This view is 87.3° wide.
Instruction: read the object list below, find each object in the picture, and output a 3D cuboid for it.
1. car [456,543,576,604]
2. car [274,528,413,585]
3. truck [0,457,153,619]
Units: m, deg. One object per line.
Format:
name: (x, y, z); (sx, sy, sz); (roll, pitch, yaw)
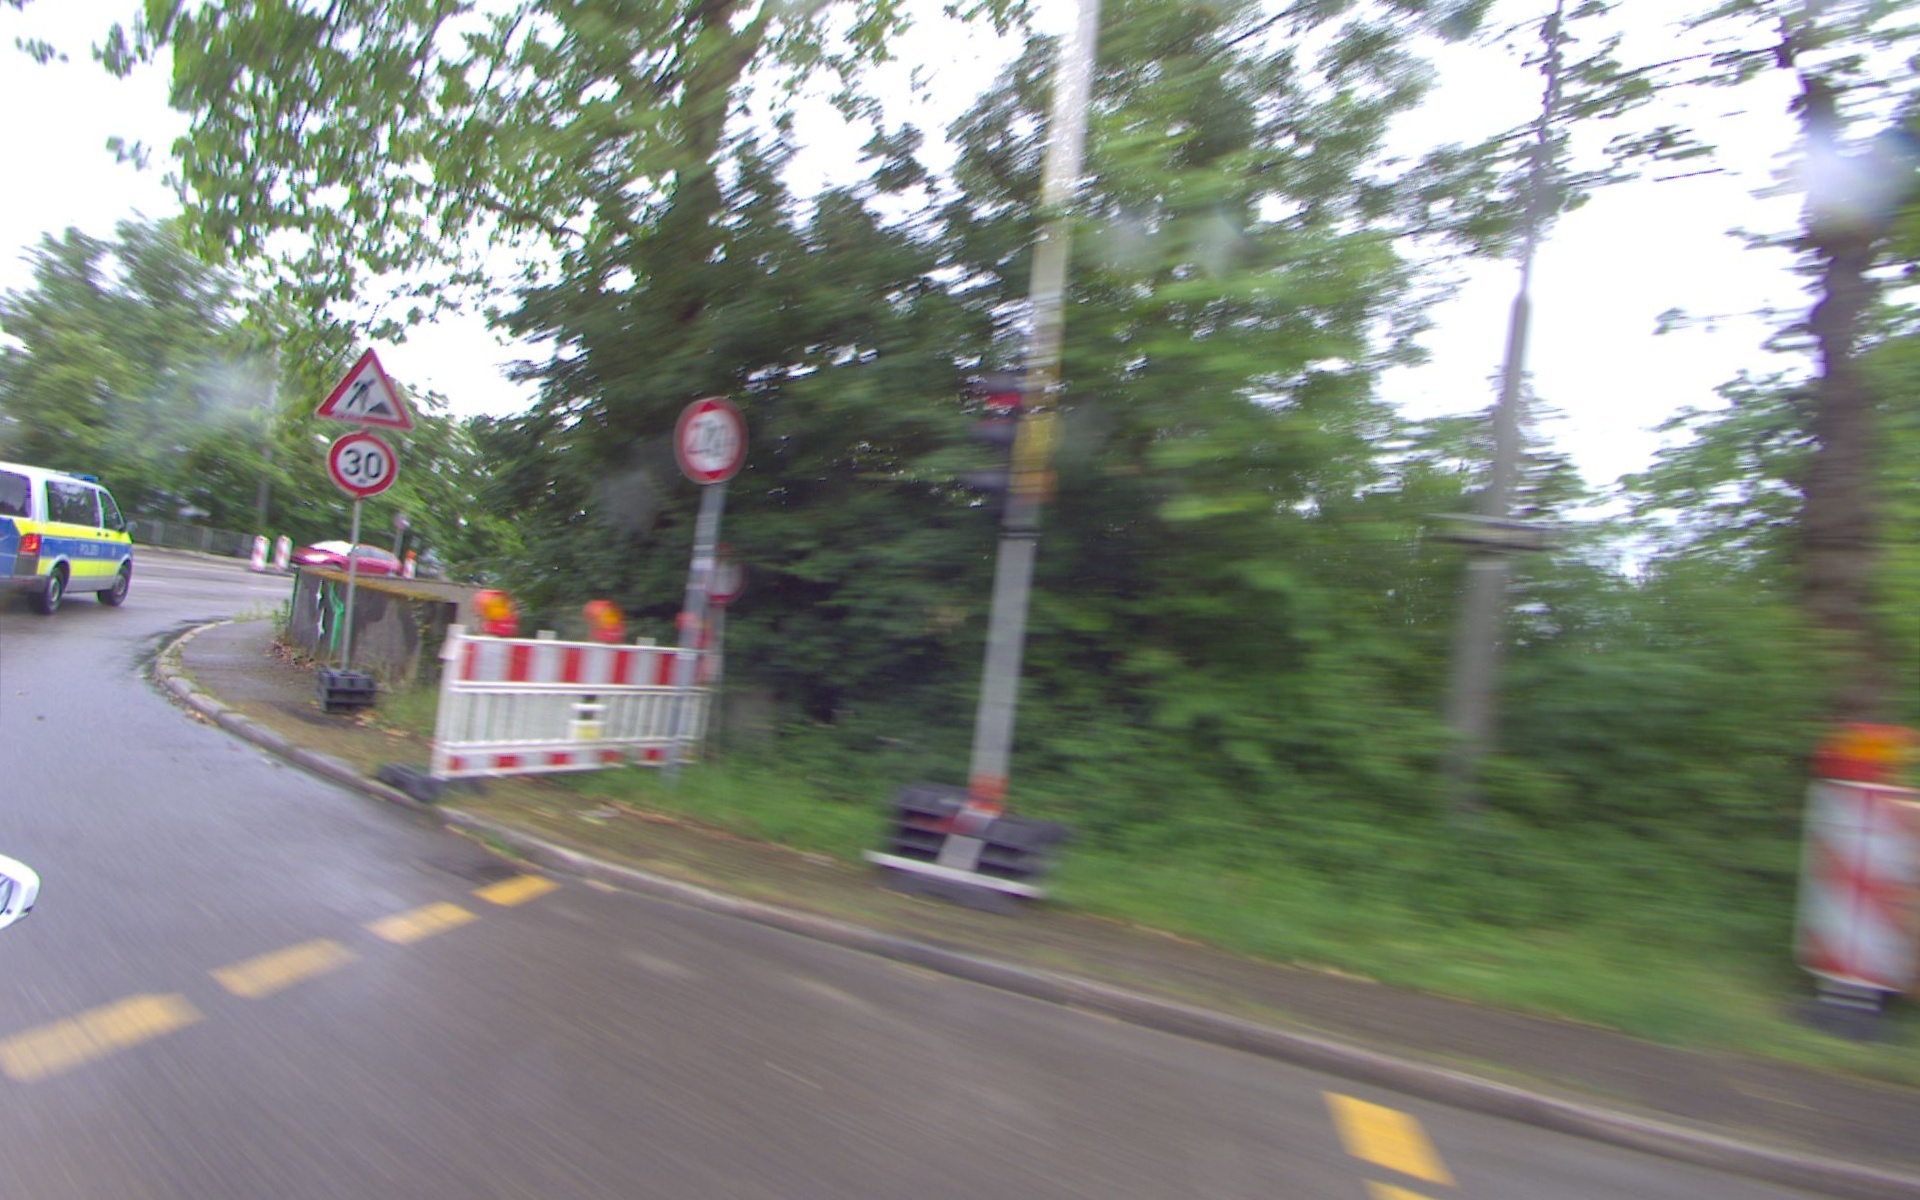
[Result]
car: (-20.819, -1.202, 47.396); (1.839, 2.036, 4.812); (10, -1, 28)
car: (-24.109, -1.658, 39.536); (1.930, 1.456, 4.328); (10, -2, 18)
truck: (-13.999, -0.973, 14.896); (1.977, 2.036, 4.705); (9, -3, -26)
